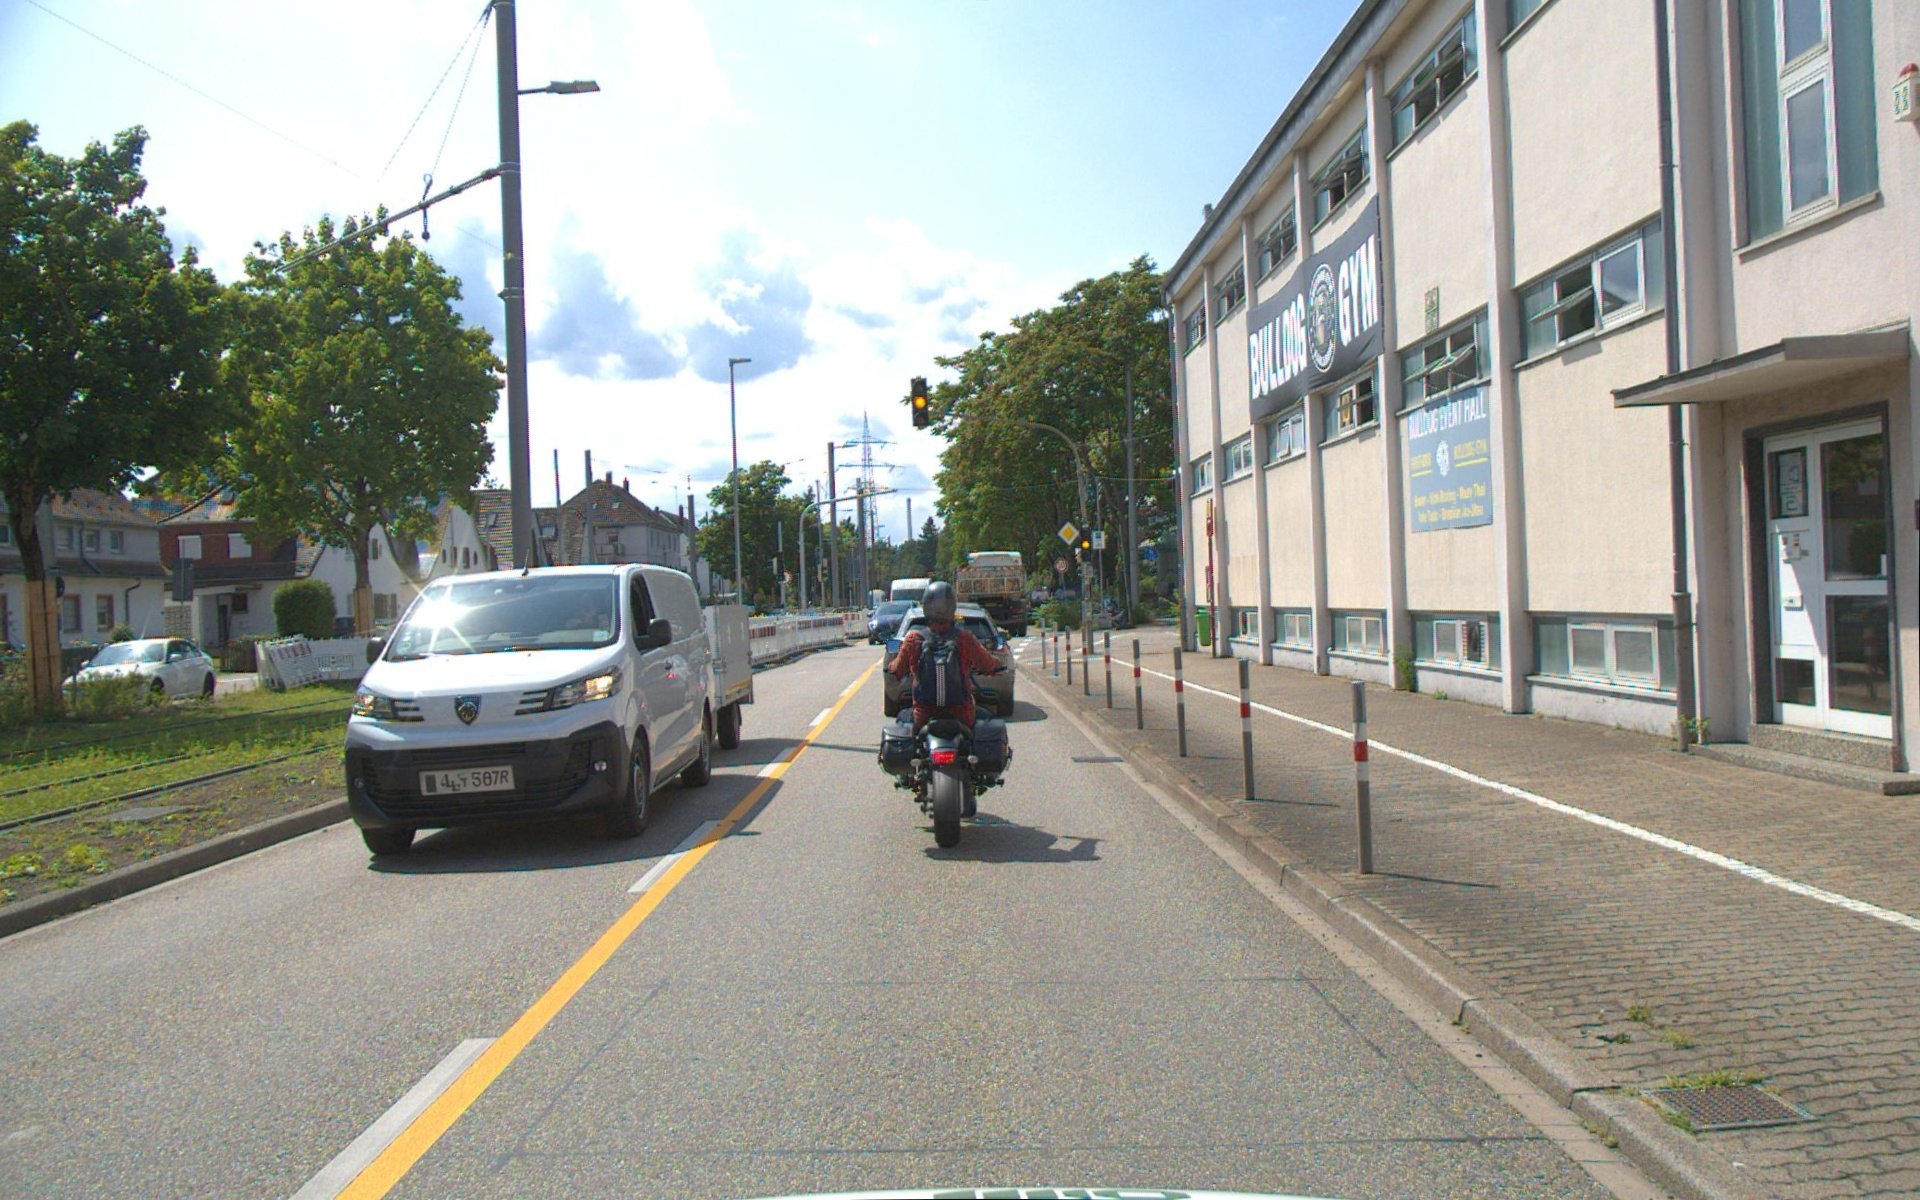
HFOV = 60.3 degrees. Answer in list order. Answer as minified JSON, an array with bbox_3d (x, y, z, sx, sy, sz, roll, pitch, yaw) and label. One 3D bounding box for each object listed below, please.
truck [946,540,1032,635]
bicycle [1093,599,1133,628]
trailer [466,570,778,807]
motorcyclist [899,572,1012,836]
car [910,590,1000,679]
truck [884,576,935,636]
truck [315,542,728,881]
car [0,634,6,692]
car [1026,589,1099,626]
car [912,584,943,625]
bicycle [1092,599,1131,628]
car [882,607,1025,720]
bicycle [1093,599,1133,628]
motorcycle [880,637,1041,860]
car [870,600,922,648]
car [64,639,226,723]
[{"bbox_3d":[1.130,-0.412,60.705,2.906,3.229,7.765,-1,-1,2],"label":"truck"},{"bbox_3d":[6.452,0.582,69.920,1.672,1.192,0.438,-1,-1,4],"label":"bicycle"},{"bbox_3d":[-3.196,0.779,16.911,2.021,1.867,5.484,-5,0,-1],"label":"trailer"},{"bbox_3d":[-0.033,0.646,10.644,0.684,1.632,0.692,-1,-1,-1],"label":"motorcyclist"},{"bbox_3d":[-0.070,0.738,37.937,1.862,1.742,4.720,-3,1,1],"label":"car"},{"bbox_3d":[-2.307,0.220,77.093,2.050,2.519,5.196,-4,1,0],"label":"truck"},{"bbox_3d":[-3.061,0.718,12.752,1.783,1.942,5.114,-5,-1,-1],"label":"truck"},{"bbox_3d":[-27.571,1.776,43.479,3.906,1.536,1.725,-3,0,-2],"label":"car"},{"bbox_3d":[5.567,0.397,89.710,1.773,1.959,3.972,-1,-1,44],"label":"car"},{"bbox_3d":[-1.779,0.249,91.084,1.556,2.180,3.626,-1,-1,0],"label":"car"},{"bbox_3d":[6.453,0.579,70.480,1.672,1.192,0.438,-1,-1,4],"label":"bicycle"},{"bbox_3d":[-0.177,0.833,23.425,1.697,1.428,4.082,0,0,-5],"label":"car"},{"bbox_3d":[6.423,0.575,69.380,1.672,1.192,0.438,-1,-1,4],"label":"bicycle"},{"bbox_3d":[-0.008,0.891,10.846,0.923,1.221,2.472,-1,0,-1],"label":"motorcycle"},{"bbox_3d":[-2.229,0.816,58.556,1.611,1.524,4.269,-2,1,1],"label":"car"},{"bbox_3d":[-16.504,1.597,33.700,1.511,1.400,4.246,-3,0,-6],"label":"car"}]
